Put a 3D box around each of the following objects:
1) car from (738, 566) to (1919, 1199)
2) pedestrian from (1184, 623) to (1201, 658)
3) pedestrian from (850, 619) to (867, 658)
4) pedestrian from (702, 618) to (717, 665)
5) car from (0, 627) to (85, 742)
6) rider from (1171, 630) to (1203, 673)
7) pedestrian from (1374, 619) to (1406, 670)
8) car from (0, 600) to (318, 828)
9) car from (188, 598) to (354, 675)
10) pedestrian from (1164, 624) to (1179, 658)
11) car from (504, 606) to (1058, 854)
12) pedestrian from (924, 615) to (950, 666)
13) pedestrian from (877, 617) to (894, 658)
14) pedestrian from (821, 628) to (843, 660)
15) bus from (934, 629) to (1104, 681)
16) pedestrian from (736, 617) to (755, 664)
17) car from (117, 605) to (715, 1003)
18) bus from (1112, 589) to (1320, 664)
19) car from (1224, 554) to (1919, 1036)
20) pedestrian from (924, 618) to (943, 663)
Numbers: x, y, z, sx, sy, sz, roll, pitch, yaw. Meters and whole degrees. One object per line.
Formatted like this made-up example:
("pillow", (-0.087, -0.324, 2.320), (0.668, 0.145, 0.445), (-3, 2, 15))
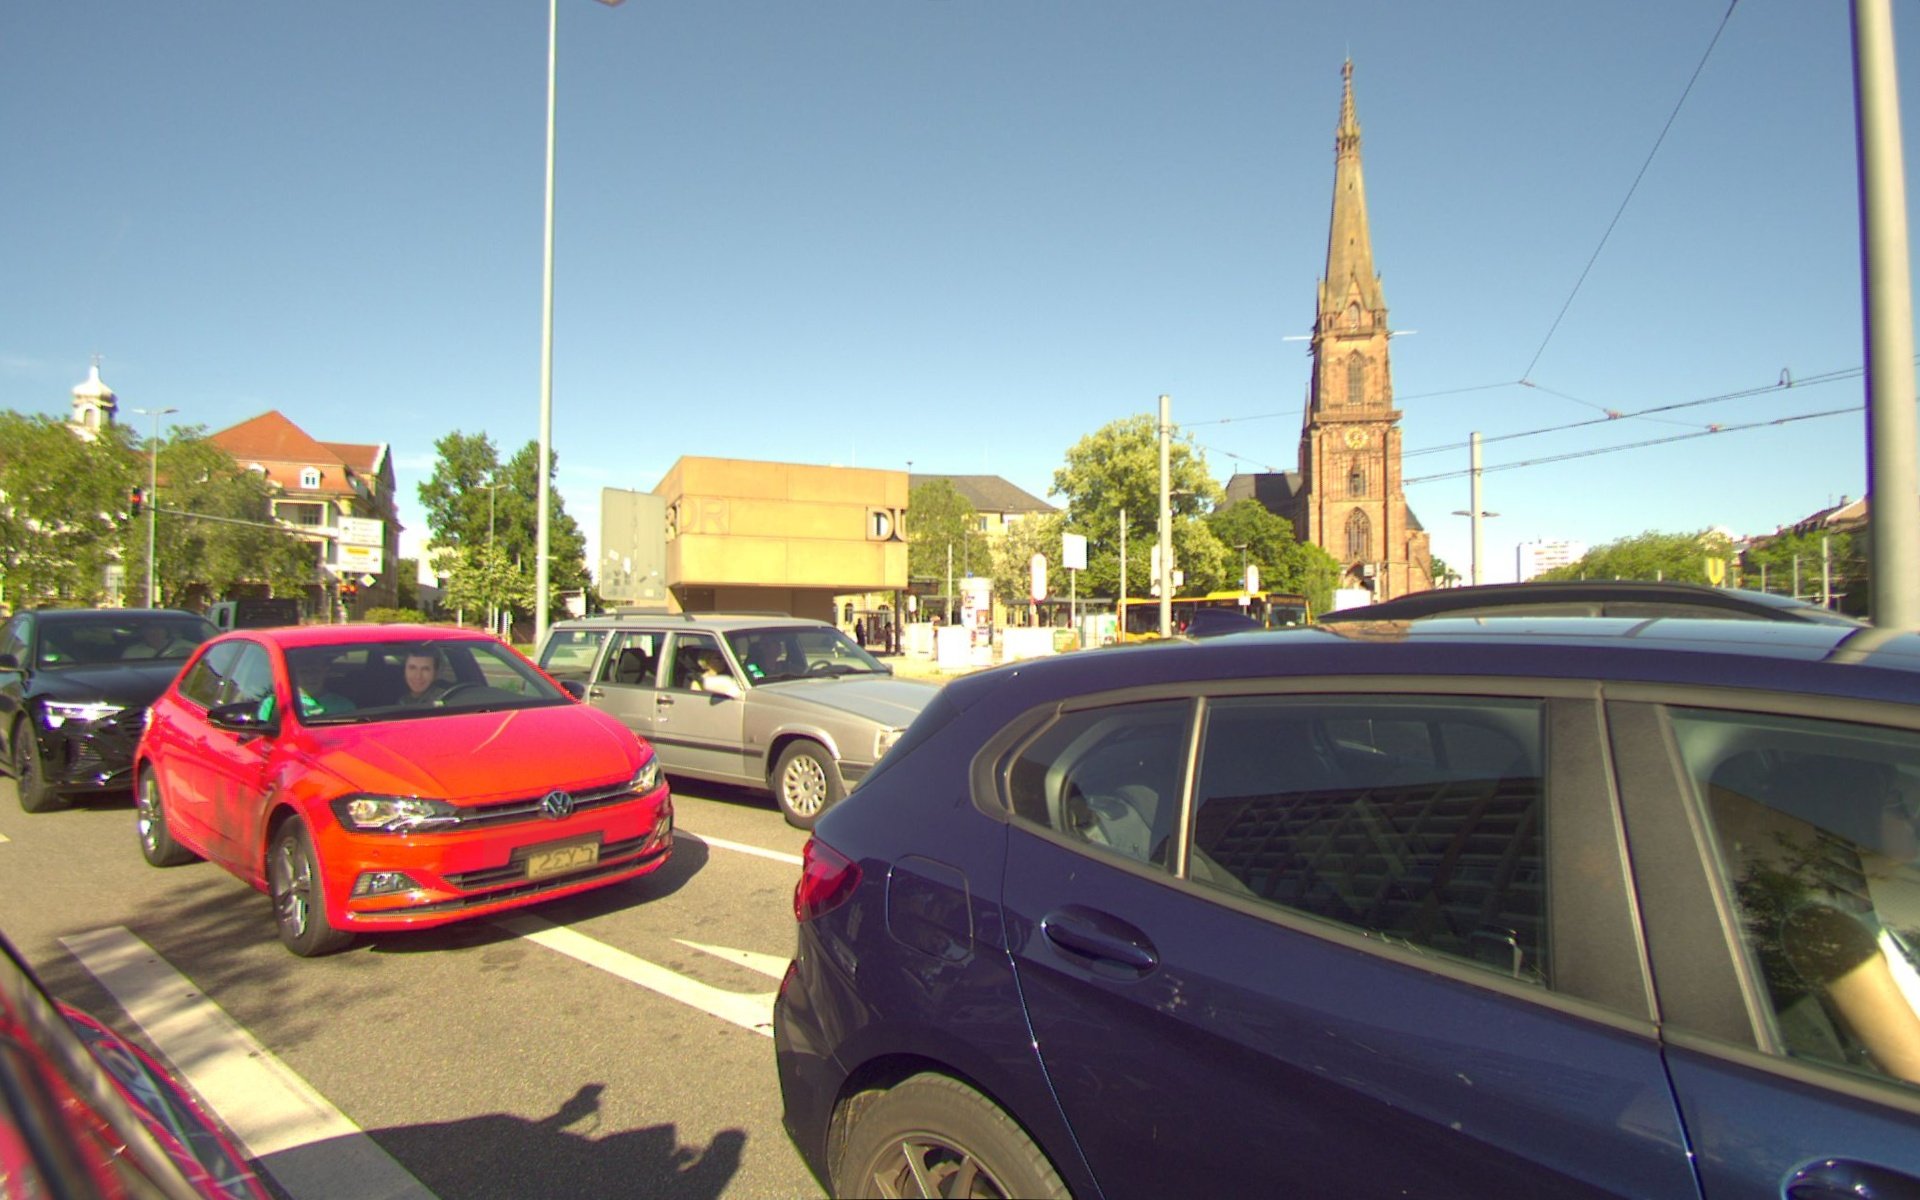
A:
("car", (1.609, 0.690, 1.366), (4.030, 1.456, 1.692), (-1, -1, 42))
("pedestrian", (10.572, 1.835, 45.978), (0.552, 1.525, 0.529), (-1, -1, -17))
("pedestrian", (-4.653, 1.758, 46.565), (0.468, 1.789, 0.638), (-2, -2, 36))
("pedestrian", (-9.583, 1.593, 38.713), (0.460, 1.789, 0.648), (0, -2, -21))
("car", (-13.600, 1.103, 13.889), (3.704, 1.429, 1.557), (-1, -1, 35))
("rider", (8.047, 1.814, 35.879), (0.847, 1.475, 0.672), (0, -2, -14))
("pedestrian", (16.009, 1.639, 37.680), (0.882, 1.869, 0.679), (-2, -3, 41))
("car", (-7.842, 0.879, 9.339), (4.446, 1.628, 1.836), (-1, -2, 38))
("car", (-22.612, 1.168, 33.111), (6.191, 2.331, 2.095), (-1, -2, 31))
("pedestrian", (9.615, 1.852, 46.087), (0.563, 1.525, 0.527), (-1, -1, 4))
("car", (-1.662, 0.824, 8.206), (4.745, 1.484, 1.692), (-1, -2, 38))
("pedestrian", (-0.821, 1.432, 36.057), (0.666, 1.802, 0.639), (-1, -1, 33))
("pedestrian", (-3.314, 1.654, 45.059), (0.468, 1.789, 0.638), (-2, -2, 36))
("pedestrian", (-5.473, 1.878, 43.223), (0.635, 1.320, 0.764), (1, -2, -40))
("bus", (1.478, 1.372, 26.151), (4.174, 1.251, 1.627), (-1, -2, 35))
("pedestrian", (-8.130, 1.533, 38.345), (0.635, 1.789, 0.618), (0, -2, -8))
("car", (-3.235, 0.808, 5.681), (3.850, 1.484, 1.653), (-2, -1, 40))
("bus", (11.647, 1.316, 48.113), (2.715, 3.088, 12.201), (1, -2, -23))
("car", (3.328, 0.633, 4.145), (4.010, 1.529, 1.738), (-2, -2, 44))
("pedestrian", (-1.063, 1.634, 40.848), (0.634, 1.789, 0.470), (1, -2, -29))
